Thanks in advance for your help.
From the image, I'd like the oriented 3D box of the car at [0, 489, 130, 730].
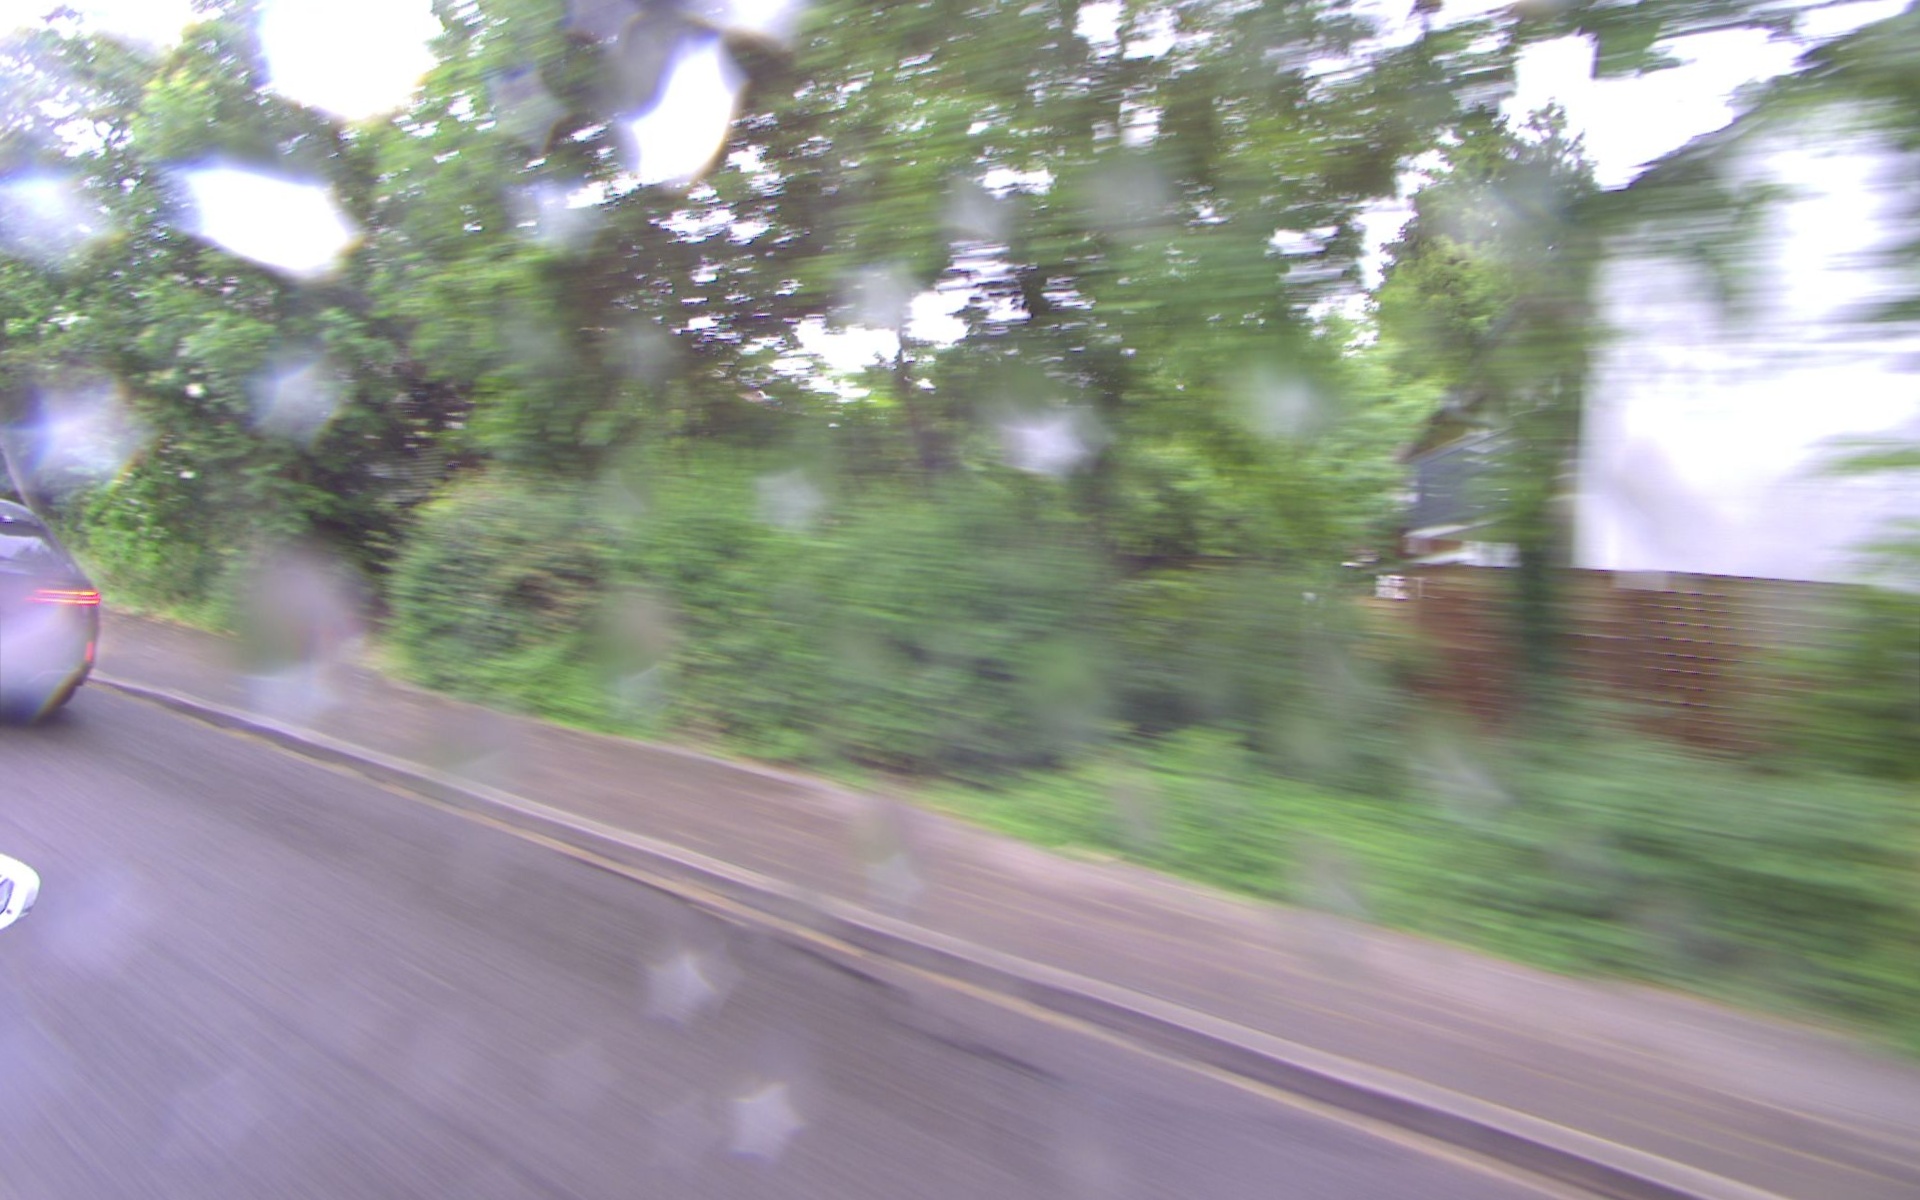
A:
[{"bbox_3d":[-7.909,-0.140,7.137,3.609,1.554,1.769,7,-2,29],"label":"car"}]
